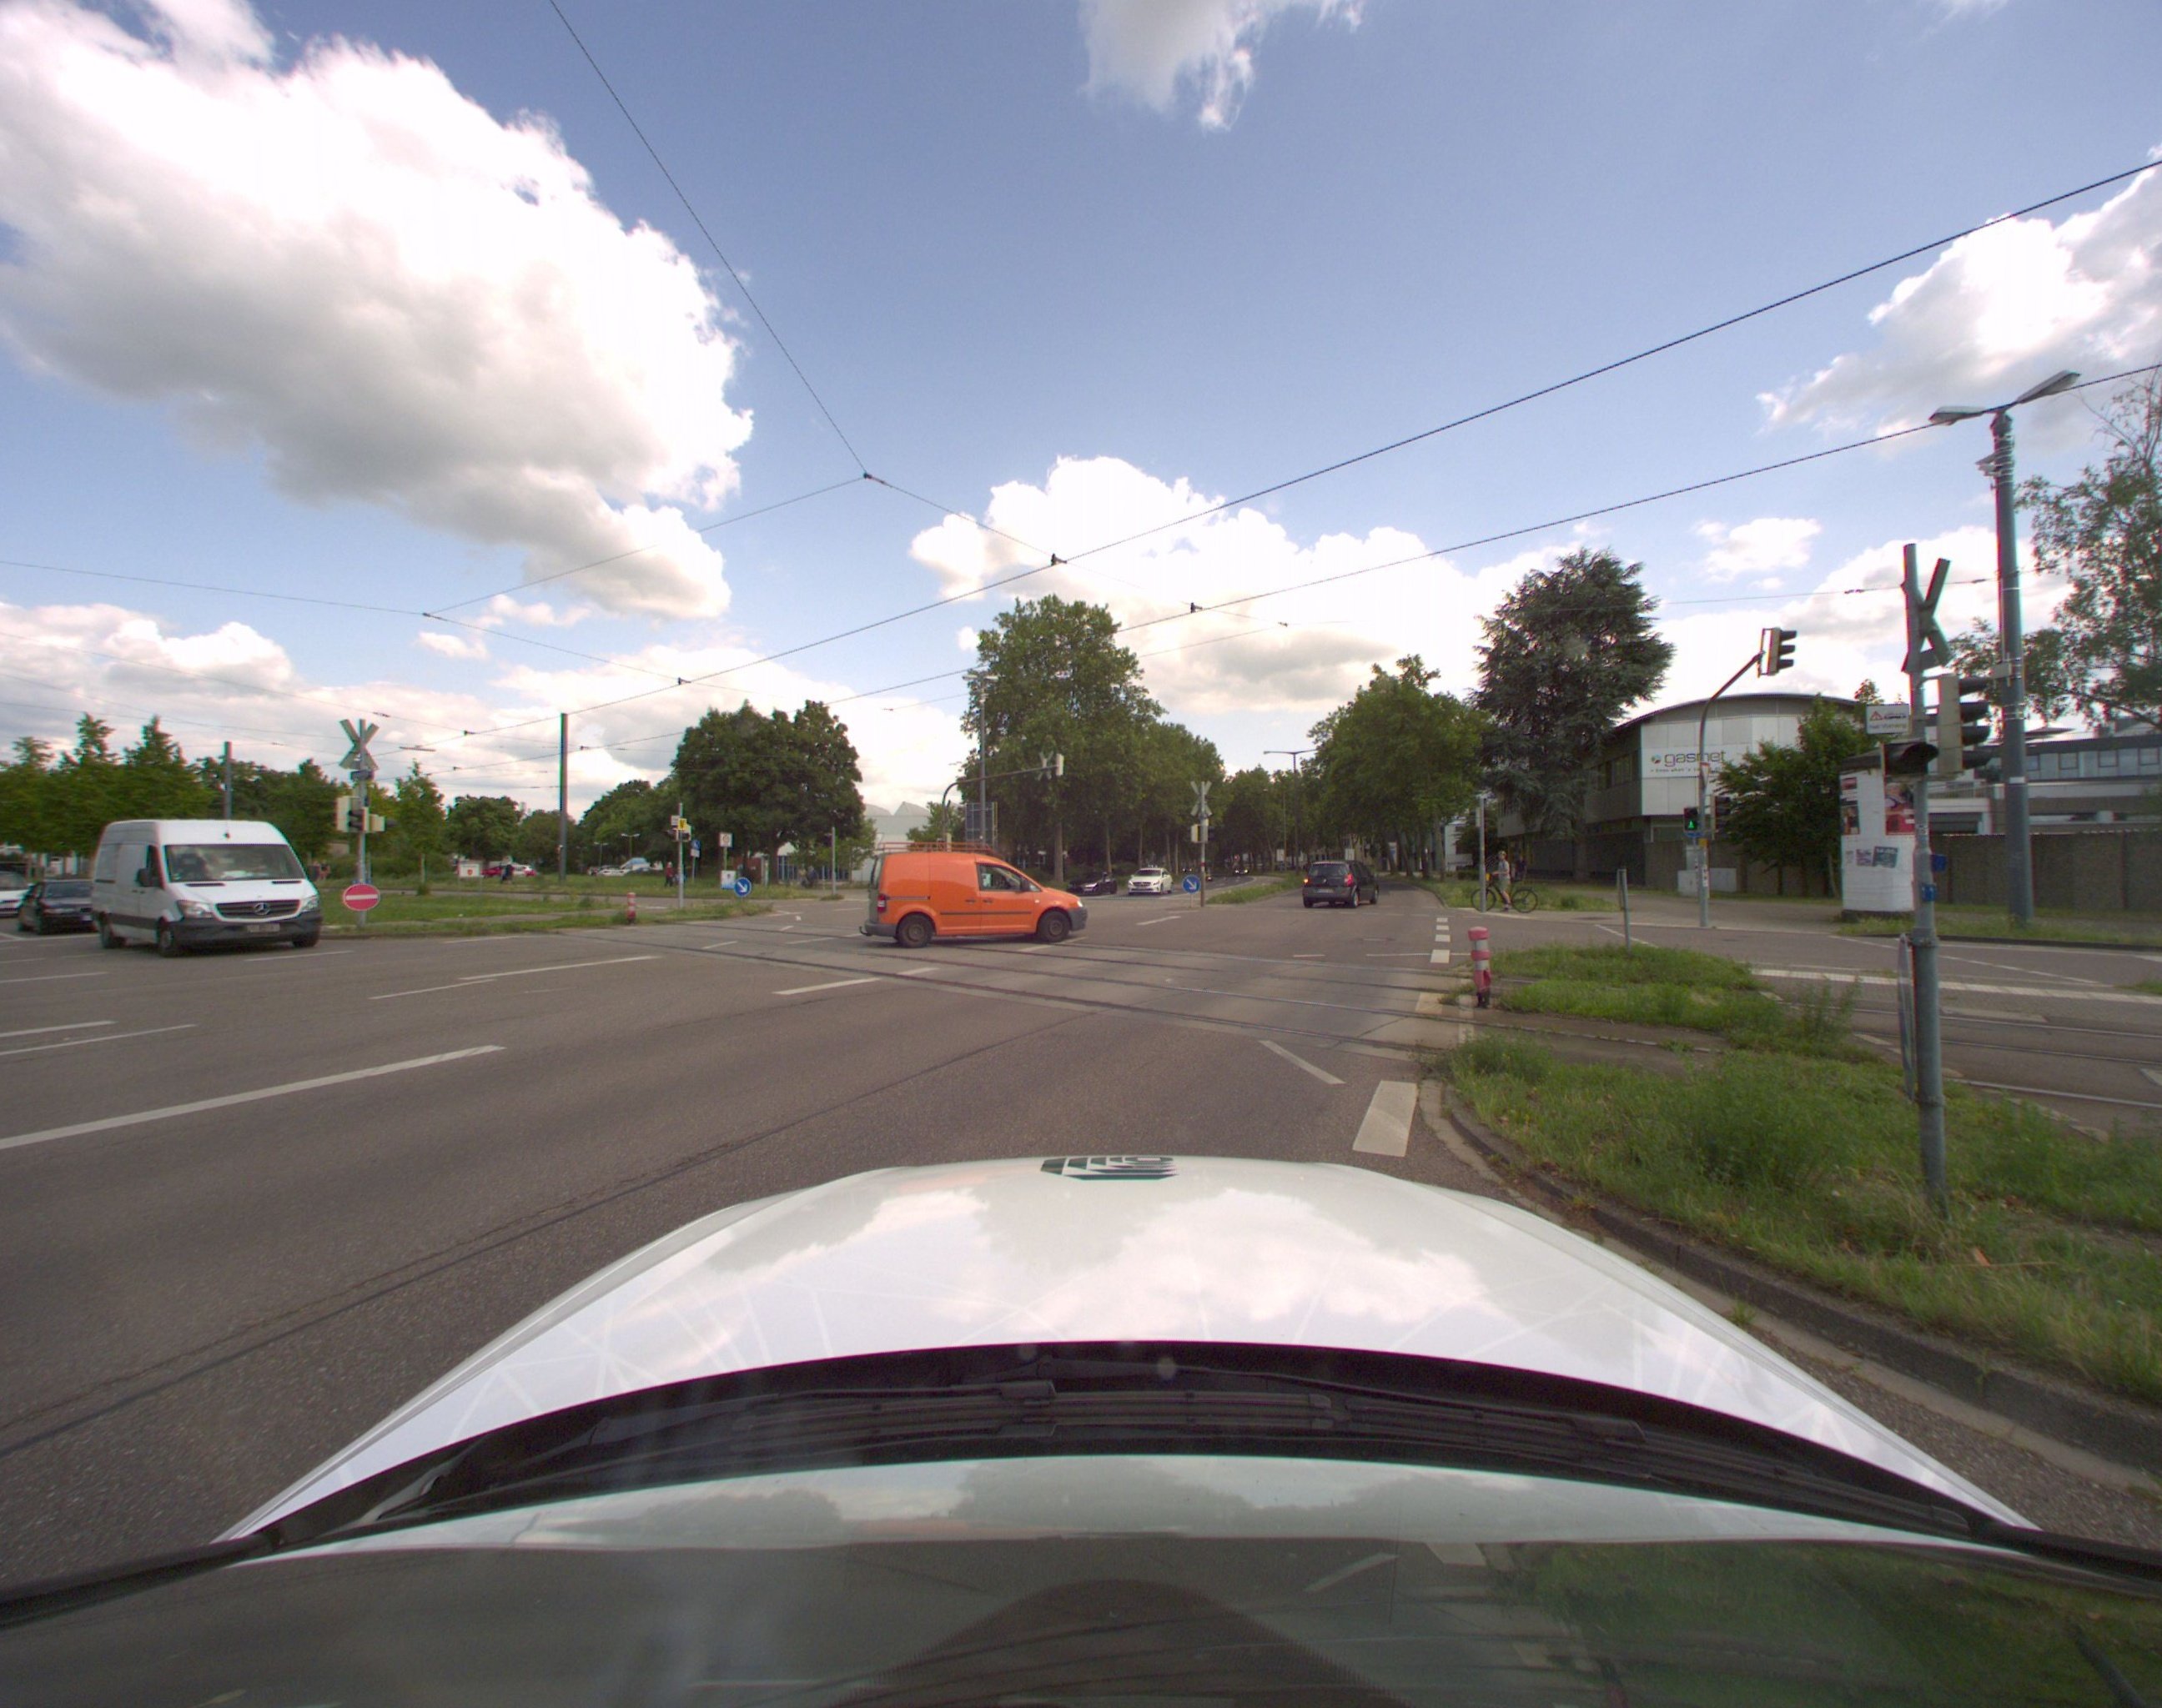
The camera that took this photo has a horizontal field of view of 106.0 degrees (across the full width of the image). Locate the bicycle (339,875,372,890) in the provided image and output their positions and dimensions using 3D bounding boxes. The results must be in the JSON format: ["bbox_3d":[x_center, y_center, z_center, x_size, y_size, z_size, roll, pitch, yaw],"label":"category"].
[{"bbox_3d":[-51.915,2.022,58.271,1.961,1.040,0.956,-1,-1,20],"label":"bicycle"}]

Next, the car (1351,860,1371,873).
[{"bbox_3d":[38.037,1.735,110.818,1.981,1.574,4.012,-1,1,10],"label":"car"}]

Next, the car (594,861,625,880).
[{"bbox_3d":[-43.484,1.490,75.042,2.009,1.640,4.342,0,-1,-37],"label":"car"}]

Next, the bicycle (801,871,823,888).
[{"bbox_3d":[-18.690,1.753,56.560,1.364,1.130,0.565,0,-2,21],"label":"bicycle"}]

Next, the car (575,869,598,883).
[{"bbox_3d":[-61.310,2.719,100.913,2.009,1.640,4.342,0,-1,-37],"label":"car"}]

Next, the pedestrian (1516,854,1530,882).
[{"bbox_3d":[24.909,0.792,45.872,0.615,1.569,0.562,-1,1,21],"label":"pedestrian"}]

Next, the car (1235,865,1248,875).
[{"bbox_3d":[22.986,2.294,116.531,1.645,1.271,3.784,-1,1,12],"label":"car"}]

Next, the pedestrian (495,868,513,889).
[{"bbox_3d":[-37.766,1.577,53.304,0.743,1.354,0.655,-1,1,28],"label":"pedestrian"}]

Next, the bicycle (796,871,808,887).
[{"bbox_3d":[-20.144,1.815,58.838,0.564,1.130,1.367,0,-1,-30],"label":"bicycle"}]

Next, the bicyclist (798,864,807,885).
[{"bbox_3d":[-20.181,1.482,58.913,0.488,1.554,0.551,2,-2,-30],"label":"bicyclist"}]

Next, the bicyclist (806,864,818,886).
[{"bbox_3d":[-18.701,1.456,56.571,0.549,1.554,0.490,1,-1,22],"label":"bicyclist"}]

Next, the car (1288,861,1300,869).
[{"bbox_3d":[44.744,2.269,171.182,1.981,1.574,4.012,-1,1,10],"label":"car"}]

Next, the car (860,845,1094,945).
[{"bbox_3d":[-2.111,0.742,16.232,4.368,1.800,1.872,0,-1,-19],"label":"car"}]

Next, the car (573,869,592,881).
[{"bbox_3d":[-72.407,3.040,118.253,2.009,1.640,4.342,0,-1,-37],"label":"car"}]

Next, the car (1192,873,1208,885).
[{"bbox_3d":[12.227,2.535,83.701,1.625,1.192,3.717,0,-1,8],"label":"car"}]

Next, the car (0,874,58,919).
[{"bbox_3d":[-36.629,1.410,27.508,4.327,1.431,1.822,-1,-1,29],"label":"car"}]

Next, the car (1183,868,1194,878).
[{"bbox_3d":[22.239,4.007,168.450,1.985,2.014,4.003,0,-1,3],"label":"car"}]

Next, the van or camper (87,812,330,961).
[{"bbox_3d":[-17.425,0.570,16.181,5.960,2.524,1.995,0,0,30],"label":"van or camper"}]

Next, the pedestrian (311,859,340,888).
[{"bbox_3d":[-54.176,1.379,58.378,1.163,2.014,1.112,-1,-1,21],"label":"pedestrian"}]

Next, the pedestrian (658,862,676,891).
[{"bbox_3d":[-23.953,1.289,47.115,0.631,1.644,0.615,-1,1,14],"label":"pedestrian"}]

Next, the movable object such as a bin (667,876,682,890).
[{"bbox_3d":[-23.465,1.679,47.011,0.455,0.811,0.581,-1,1,13],"label":"movable object such as a bin"}]

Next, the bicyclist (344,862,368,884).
[{"bbox_3d":[-51.864,1.352,58.276,0.826,1.489,0.968,-1,-1,21],"label":"bicyclist"}]

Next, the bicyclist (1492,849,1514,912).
[{"bbox_3d":[12.459,0.766,24.047,0.538,1.809,0.544,-1,1,31],"label":"bicyclist"}]

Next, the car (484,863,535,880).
[{"bbox_3d":[-55.885,1.689,79.679,4.018,1.530,1.978,0,-1,-37],"label":"car"}]

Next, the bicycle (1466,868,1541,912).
[{"bbox_3d":[12.468,1.052,24.055,1.927,1.235,0.544,-1,1,31],"label":"bicycle"}]

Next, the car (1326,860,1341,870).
[{"bbox_3d":[43.838,1.935,141.586,1.981,1.574,4.012,-1,1,10],"label":"car"}]

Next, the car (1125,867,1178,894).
[{"bbox_3d":[3.840,1.388,43.673,1.810,1.364,4.158,-1,-1,20],"label":"car"}]

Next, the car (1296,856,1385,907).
[{"bbox_3d":[9.023,0.905,28.116,1.713,1.630,4.078,-2,-2,36],"label":"car"}]

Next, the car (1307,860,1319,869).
[{"bbox_3d":[44.850,2.101,157.513,1.981,1.574,4.012,-1,1,10],"label":"car"}]

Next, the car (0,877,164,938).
[{"bbox_3d":[-26.387,1.338,21.485,4.413,1.431,1.822,-1,-1,27],"label":"car"}]

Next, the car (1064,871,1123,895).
[{"bbox_3d":[0.713,1.555,44.164,1.619,1.192,3.731,-1,-1,29],"label":"car"}]
